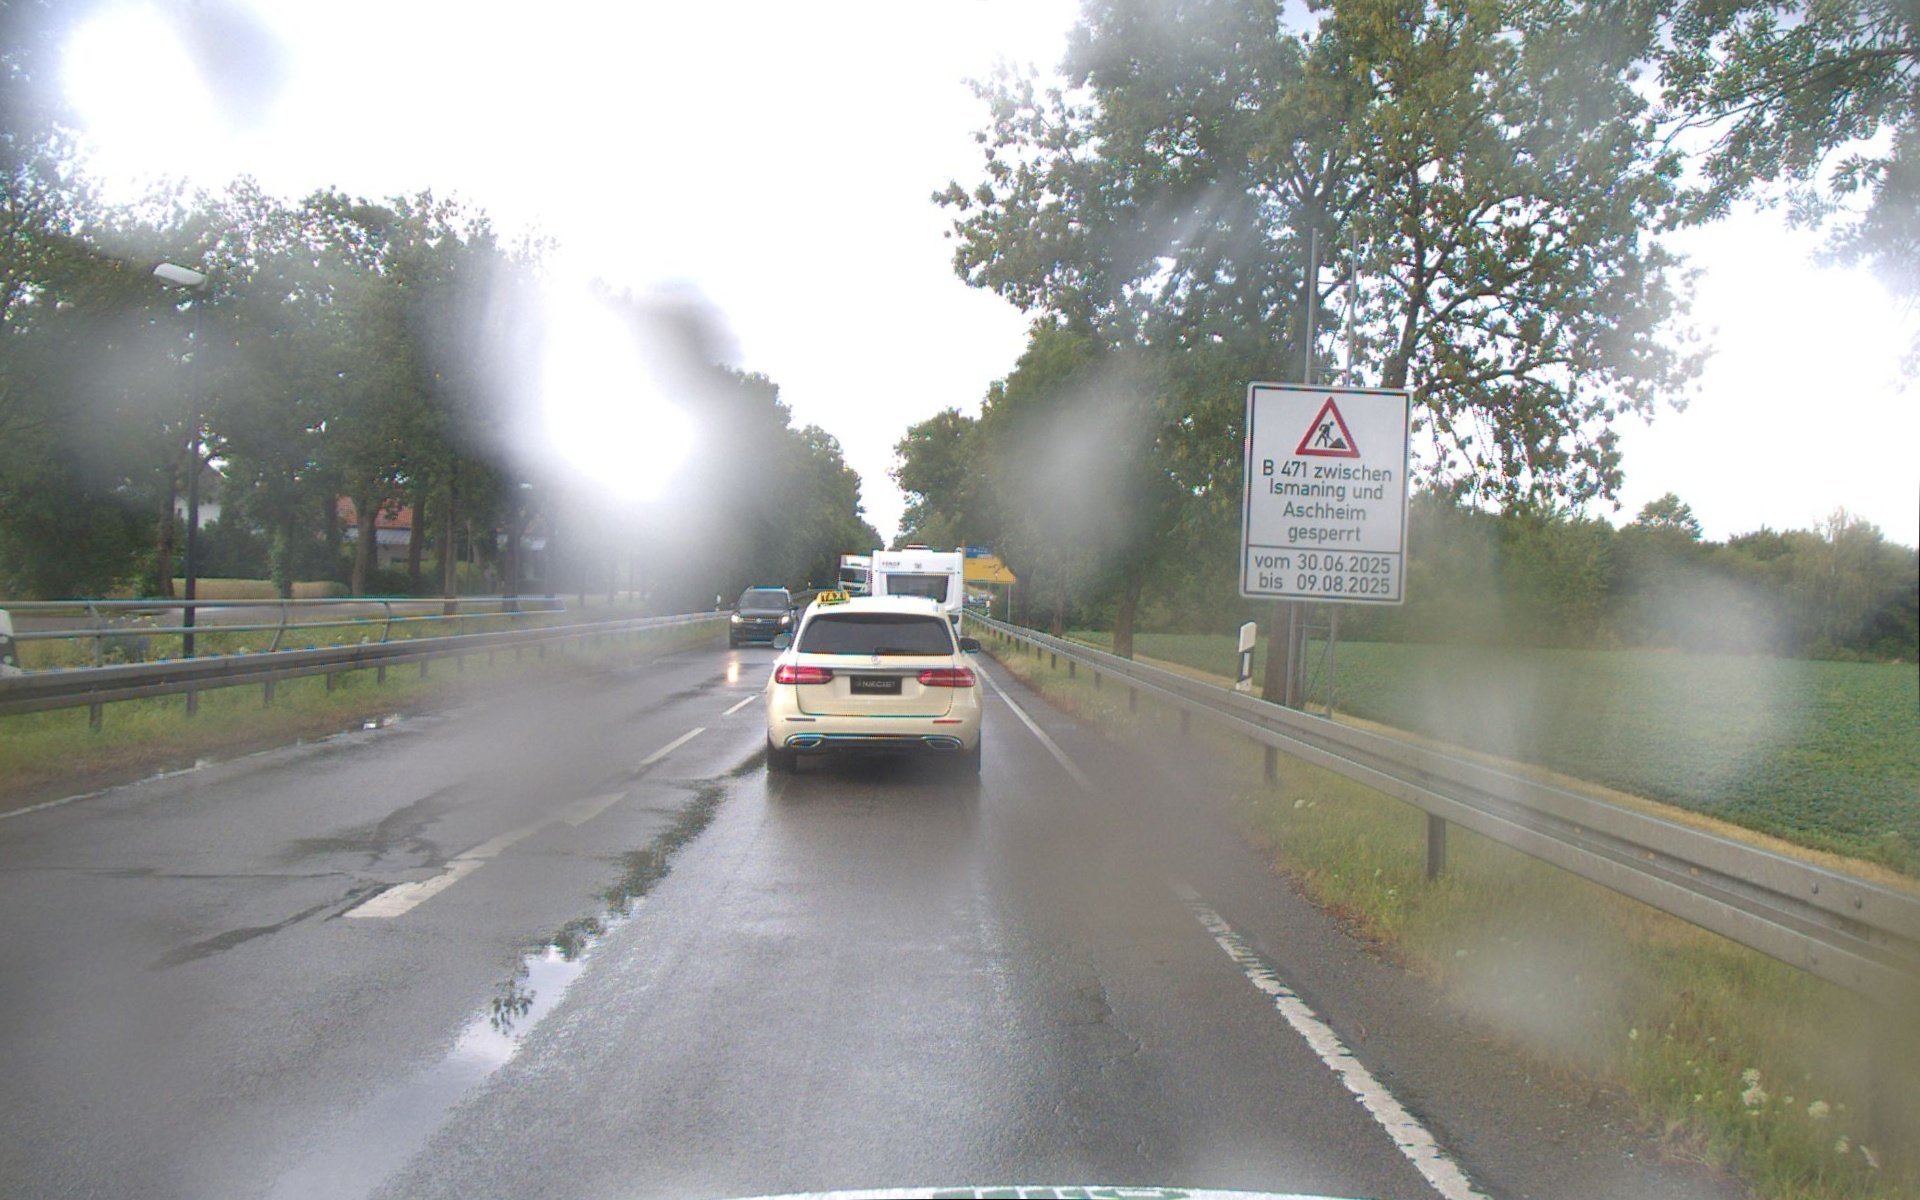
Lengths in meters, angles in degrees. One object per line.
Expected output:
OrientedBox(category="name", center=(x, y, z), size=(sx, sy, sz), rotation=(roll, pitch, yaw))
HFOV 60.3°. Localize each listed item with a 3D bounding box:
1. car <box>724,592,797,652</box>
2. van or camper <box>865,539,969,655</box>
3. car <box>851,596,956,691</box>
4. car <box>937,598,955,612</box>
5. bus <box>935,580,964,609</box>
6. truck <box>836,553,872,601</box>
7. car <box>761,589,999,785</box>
OrientedBox(category="car", center=(-5.694, 0.595, 47.579), size=(1.729, 1.647, 3.998), rotation=(0, 0, -2))
OrientedBox(category="van or camper", center=(-1.047, -0.091, 42.559), size=(2.439, 2.732, 5.699), rotation=(1, 0, -1))
OrientedBox(category="car", center=(-0.892, 0.669, 27.764), size=(1.630, 1.456, 4.000), rotation=(1, 0, -1))
OrientedBox(category="car", center=(-1.257, 0.447, 148.029), size=(1.520, 1.138, 3.999), rotation=(1, 0, -1))
OrientedBox(category="bus", center=(-0.780, -0.418, 118.474), size=(1.953, 2.049, 3.999), rotation=(0, 0, -2))
OrientedBox(category="truck", center=(-8.019, -1.703, 125.854), size=(2.525, 3.512, 9.551), rotation=(0, 0, -3))
OrientedBox(category="car", center=(-0.632, 0.664, 14.812), size=(1.827, 1.502, 4.000), rotation=(1, 0, -1))
